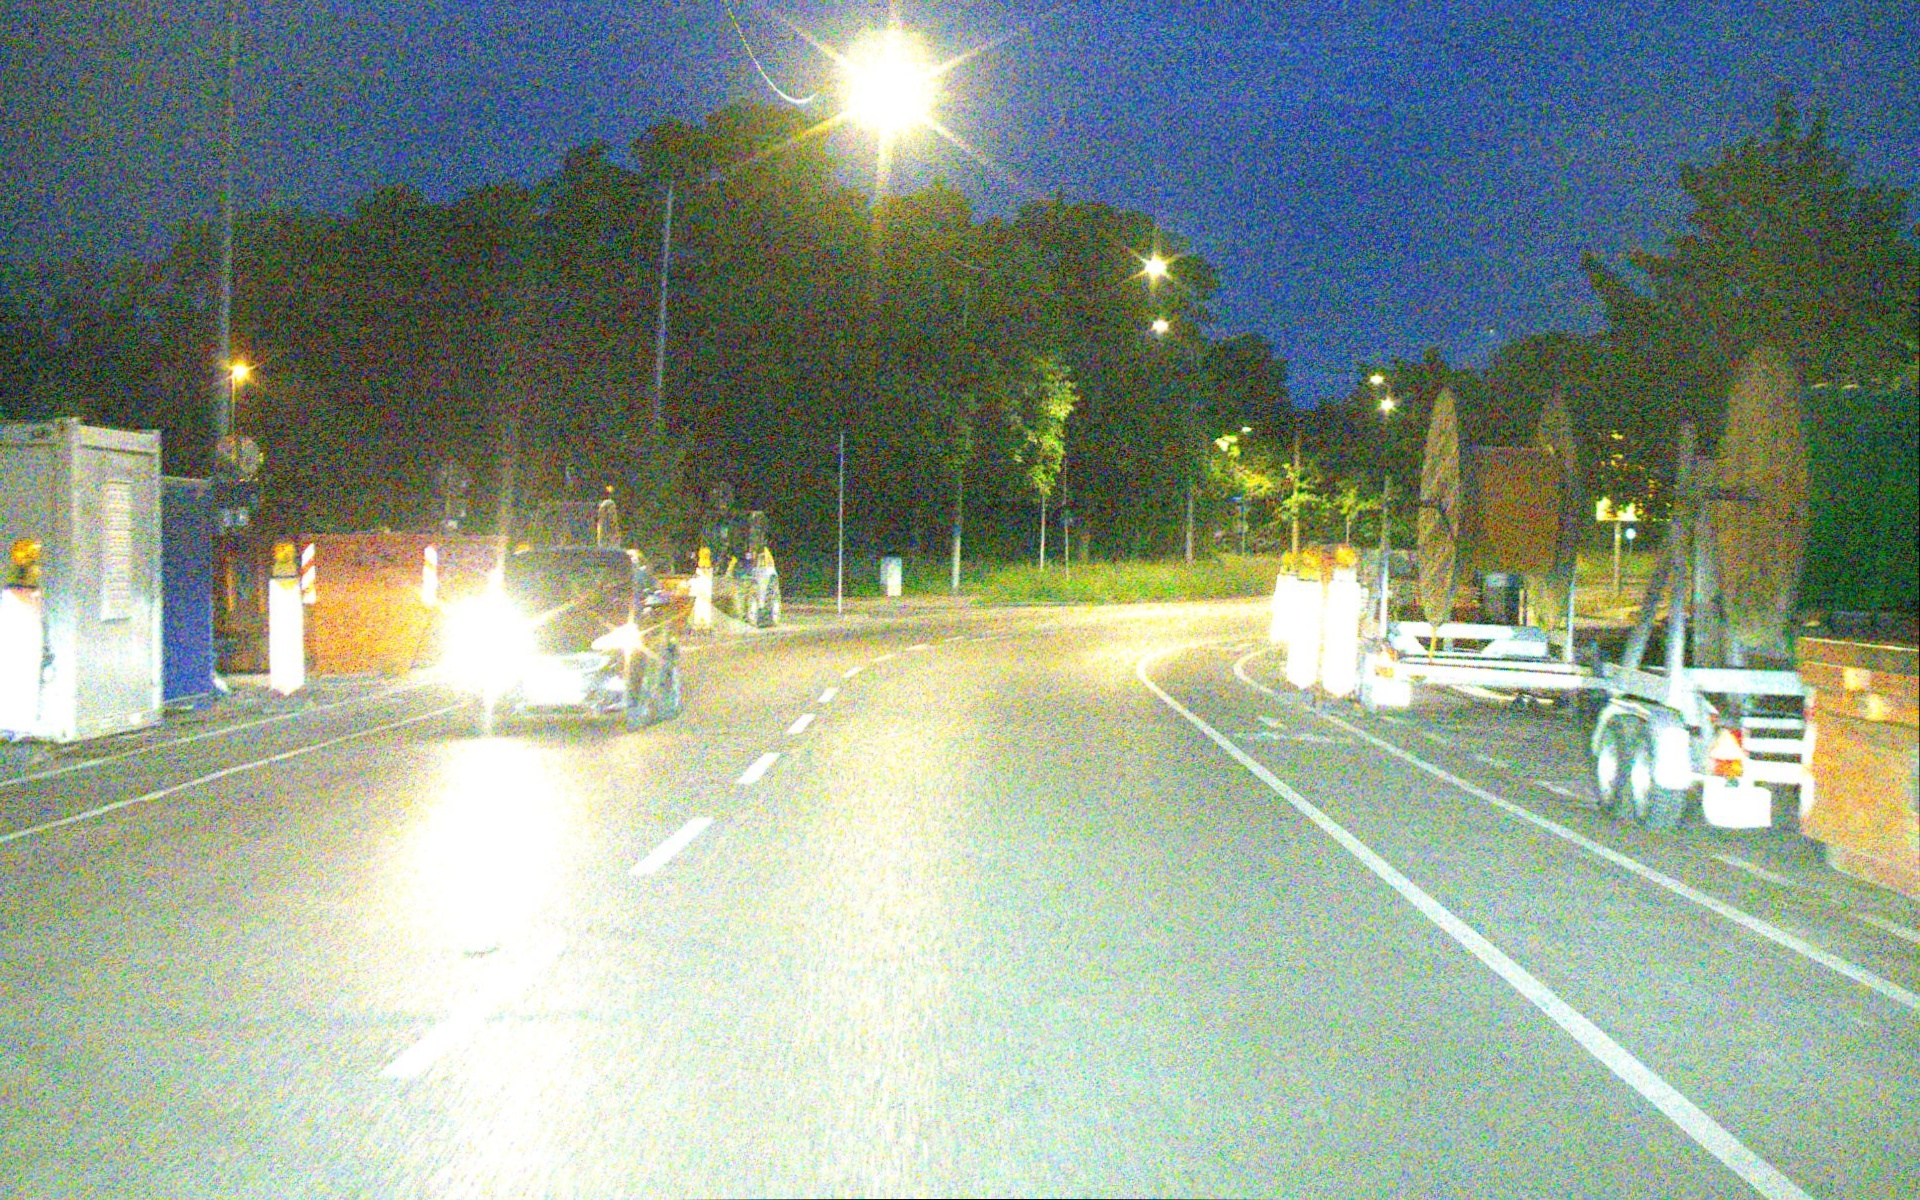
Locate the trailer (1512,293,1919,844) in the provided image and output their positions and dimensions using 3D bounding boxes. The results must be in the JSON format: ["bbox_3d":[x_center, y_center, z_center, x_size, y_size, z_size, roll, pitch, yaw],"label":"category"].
[{"bbox_3d":[5.130,-0.165,20.368,2.613,2.836,4.710,2,1,-3],"label":"trailer"}]

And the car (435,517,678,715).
[{"bbox_3d":[-3.426,0.098,29.621,1.696,1.571,2.957,-1,2,0],"label":"car"}]

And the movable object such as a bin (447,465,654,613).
[{"bbox_3d":[-6.765,-1.027,57.355,1.994,2.368,4.699,0,1,12],"label":"movable object such as a bin"}]

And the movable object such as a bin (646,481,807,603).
[{"bbox_3d":[-4.676,-1.181,69.547,1.994,2.368,4.699,0,1,12],"label":"movable object such as a bin"}]

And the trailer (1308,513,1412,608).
[{"bbox_3d":[6.343,-0.659,54.763,1.243,1.429,3.727,1,2,1],"label":"trailer"}]

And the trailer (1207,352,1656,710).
[{"bbox_3d":[4.584,-0.672,34.534,3.481,3.208,4.866,2,1,-3],"label":"trailer"}]
